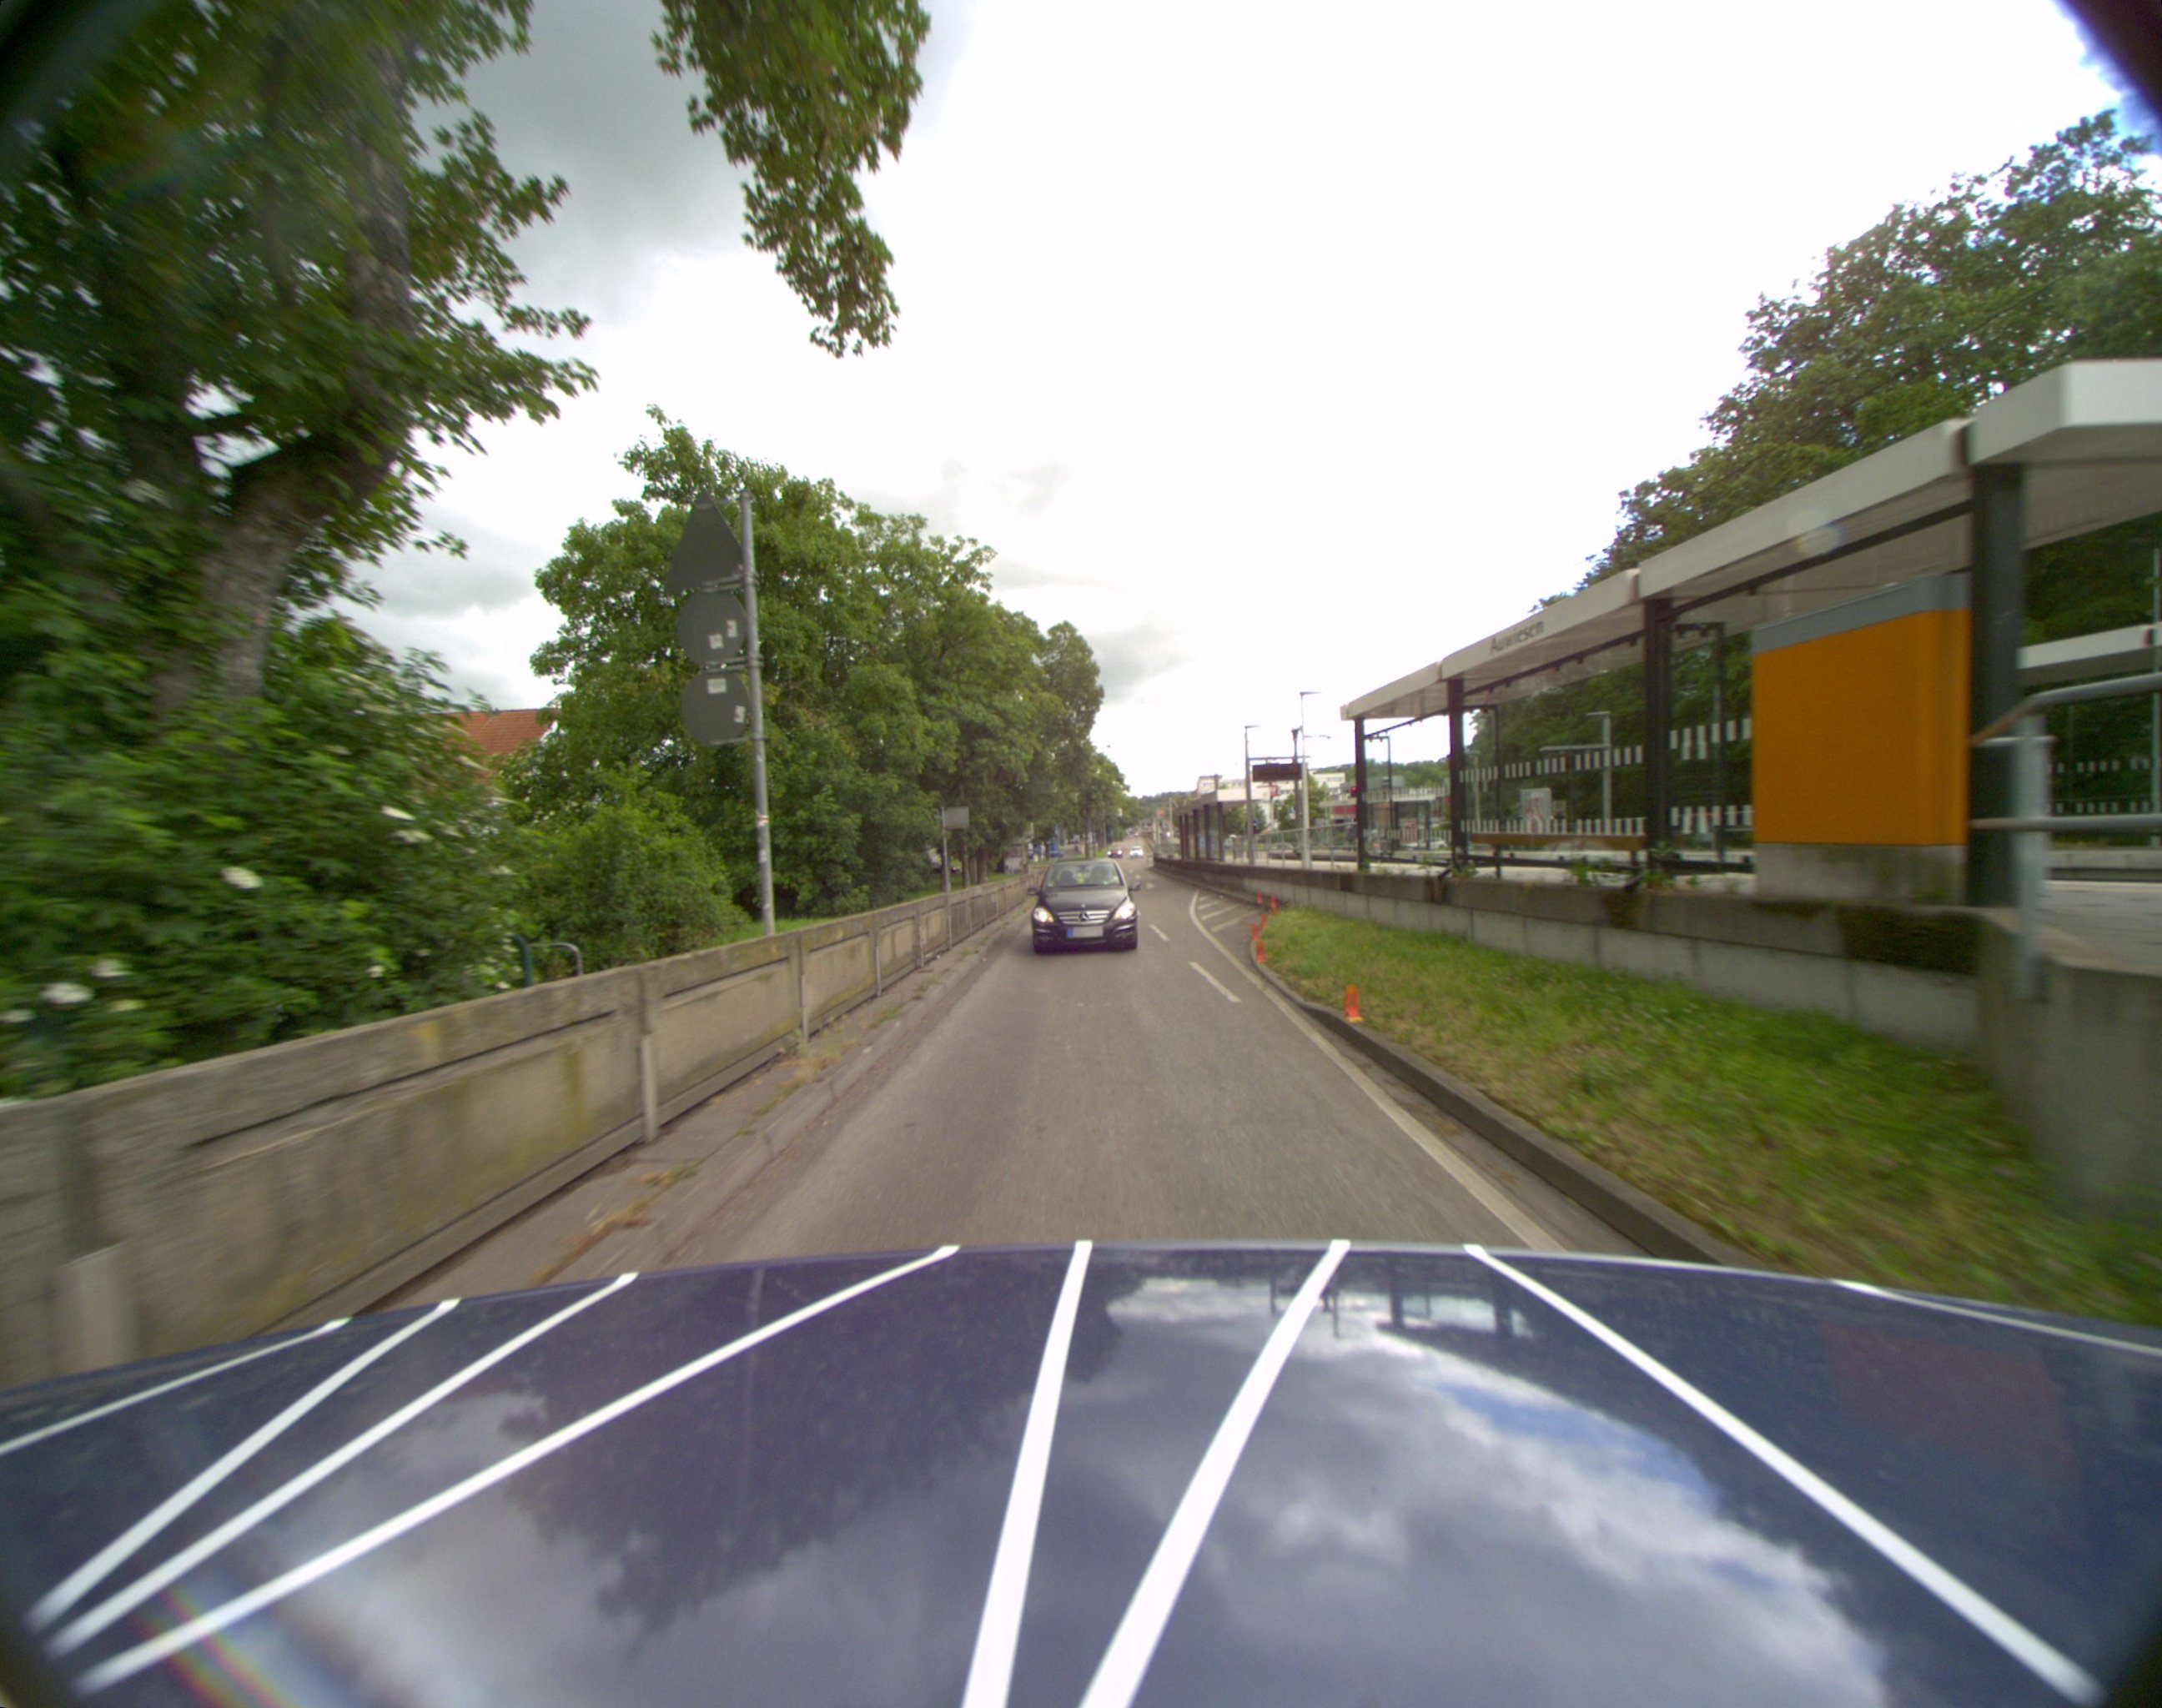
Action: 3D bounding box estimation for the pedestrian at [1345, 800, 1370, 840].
[{"bbox_3d":[15.449,-1.898,42.482,0.972,2.173,0.976,-3,2,3],"label":"pedestrian"}]

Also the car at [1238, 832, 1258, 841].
[{"bbox_3d":[36.649,-3.879,167.096,3.996,1.498,2.002,-5,2,4],"label":"car"}]

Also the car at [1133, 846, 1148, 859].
[{"bbox_3d":[7.775,-0.154,99.511,1.786,1.436,3.999,-5,2,2],"label":"car"}]

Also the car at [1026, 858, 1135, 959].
[{"bbox_3d":[0.133,0.944,15.010,1.786,1.614,4.001,-3,0,4],"label":"car"}]

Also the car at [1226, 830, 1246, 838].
[{"bbox_3d":[37.071,-4.762,181.832,4.481,1.498,1.795,-5,2,1],"label":"car"}]

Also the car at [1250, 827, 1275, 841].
[{"bbox_3d":[33.941,-3.728,142.239,3.996,2.153,2.058,-5,2,4],"label":"car"}]

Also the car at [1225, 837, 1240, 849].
[{"bbox_3d":[25.199,-1.834,126.407,1.714,1.741,4.398,-1,2,1],"label":"car"}]

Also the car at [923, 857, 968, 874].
[{"bbox_3d":[-13.873,1.145,77.809,4.160,1.517,1.705,-2,2,10],"label":"car"}]

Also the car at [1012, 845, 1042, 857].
[{"bbox_3d":[-8.209,-0.469,114.558,4.214,1.688,1.837,-2,1,-15],"label":"car"}]

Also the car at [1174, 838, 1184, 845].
[{"bbox_3d":[21.998,-2.816,170.002,1.599,1.438,4.051,-1,2,-2],"label":"car"}]
